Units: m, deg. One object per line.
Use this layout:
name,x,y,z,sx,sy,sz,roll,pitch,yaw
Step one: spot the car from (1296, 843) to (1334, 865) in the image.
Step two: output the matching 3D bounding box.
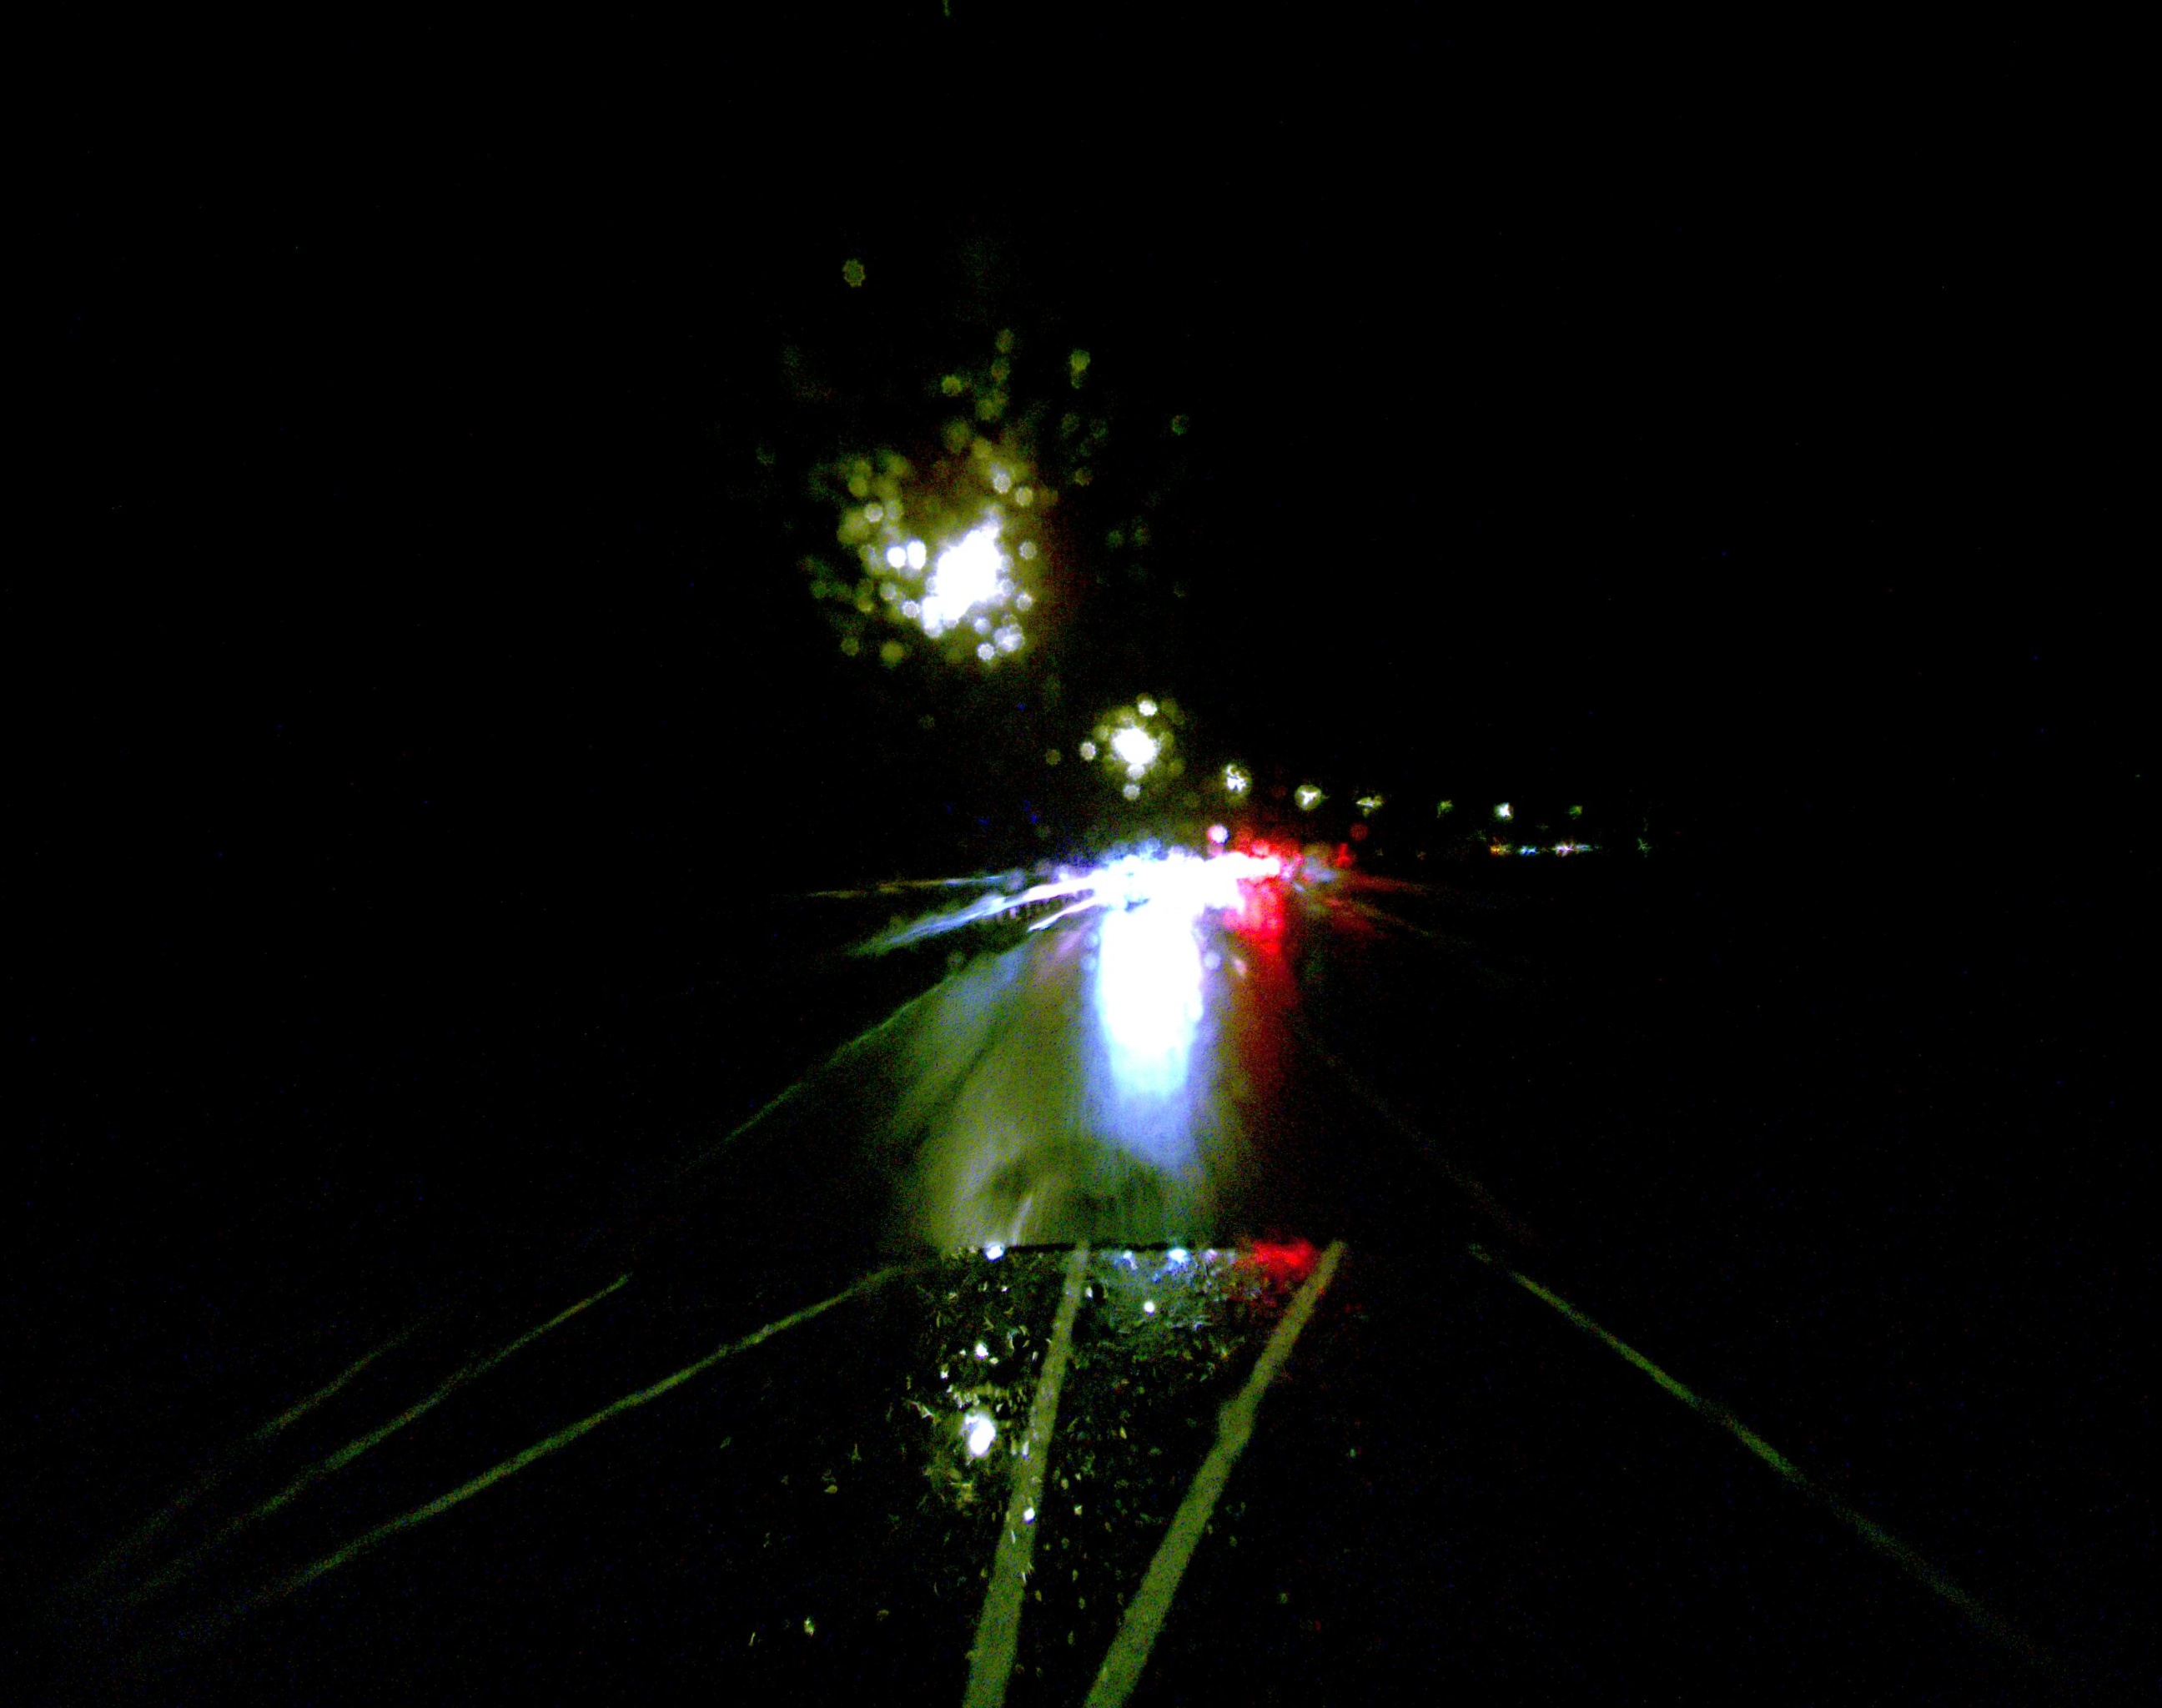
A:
car,21.160,0.006,68.579,2.375,1.924,4.425,-1,0,28

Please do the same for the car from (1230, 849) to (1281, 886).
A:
car,7.619,0.564,33.454,1.997,1.475,4.003,-1,0,10

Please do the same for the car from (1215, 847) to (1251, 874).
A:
car,11.317,0.488,56.533,1.996,1.923,4.006,-1,0,20

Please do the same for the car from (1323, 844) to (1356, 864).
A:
car,26.887,-0.026,78.959,2.375,1.924,4.425,-1,0,31

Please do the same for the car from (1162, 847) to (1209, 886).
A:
car,5.519,0.626,39.840,1.996,1.923,4.004,-1,0,14

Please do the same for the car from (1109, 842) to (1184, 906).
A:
car,2.203,0.592,24.510,1.935,1.861,4.003,-1,0,11

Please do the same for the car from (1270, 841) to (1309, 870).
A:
car,15.695,0.107,57.071,2.376,2.079,4.424,-1,0,21
